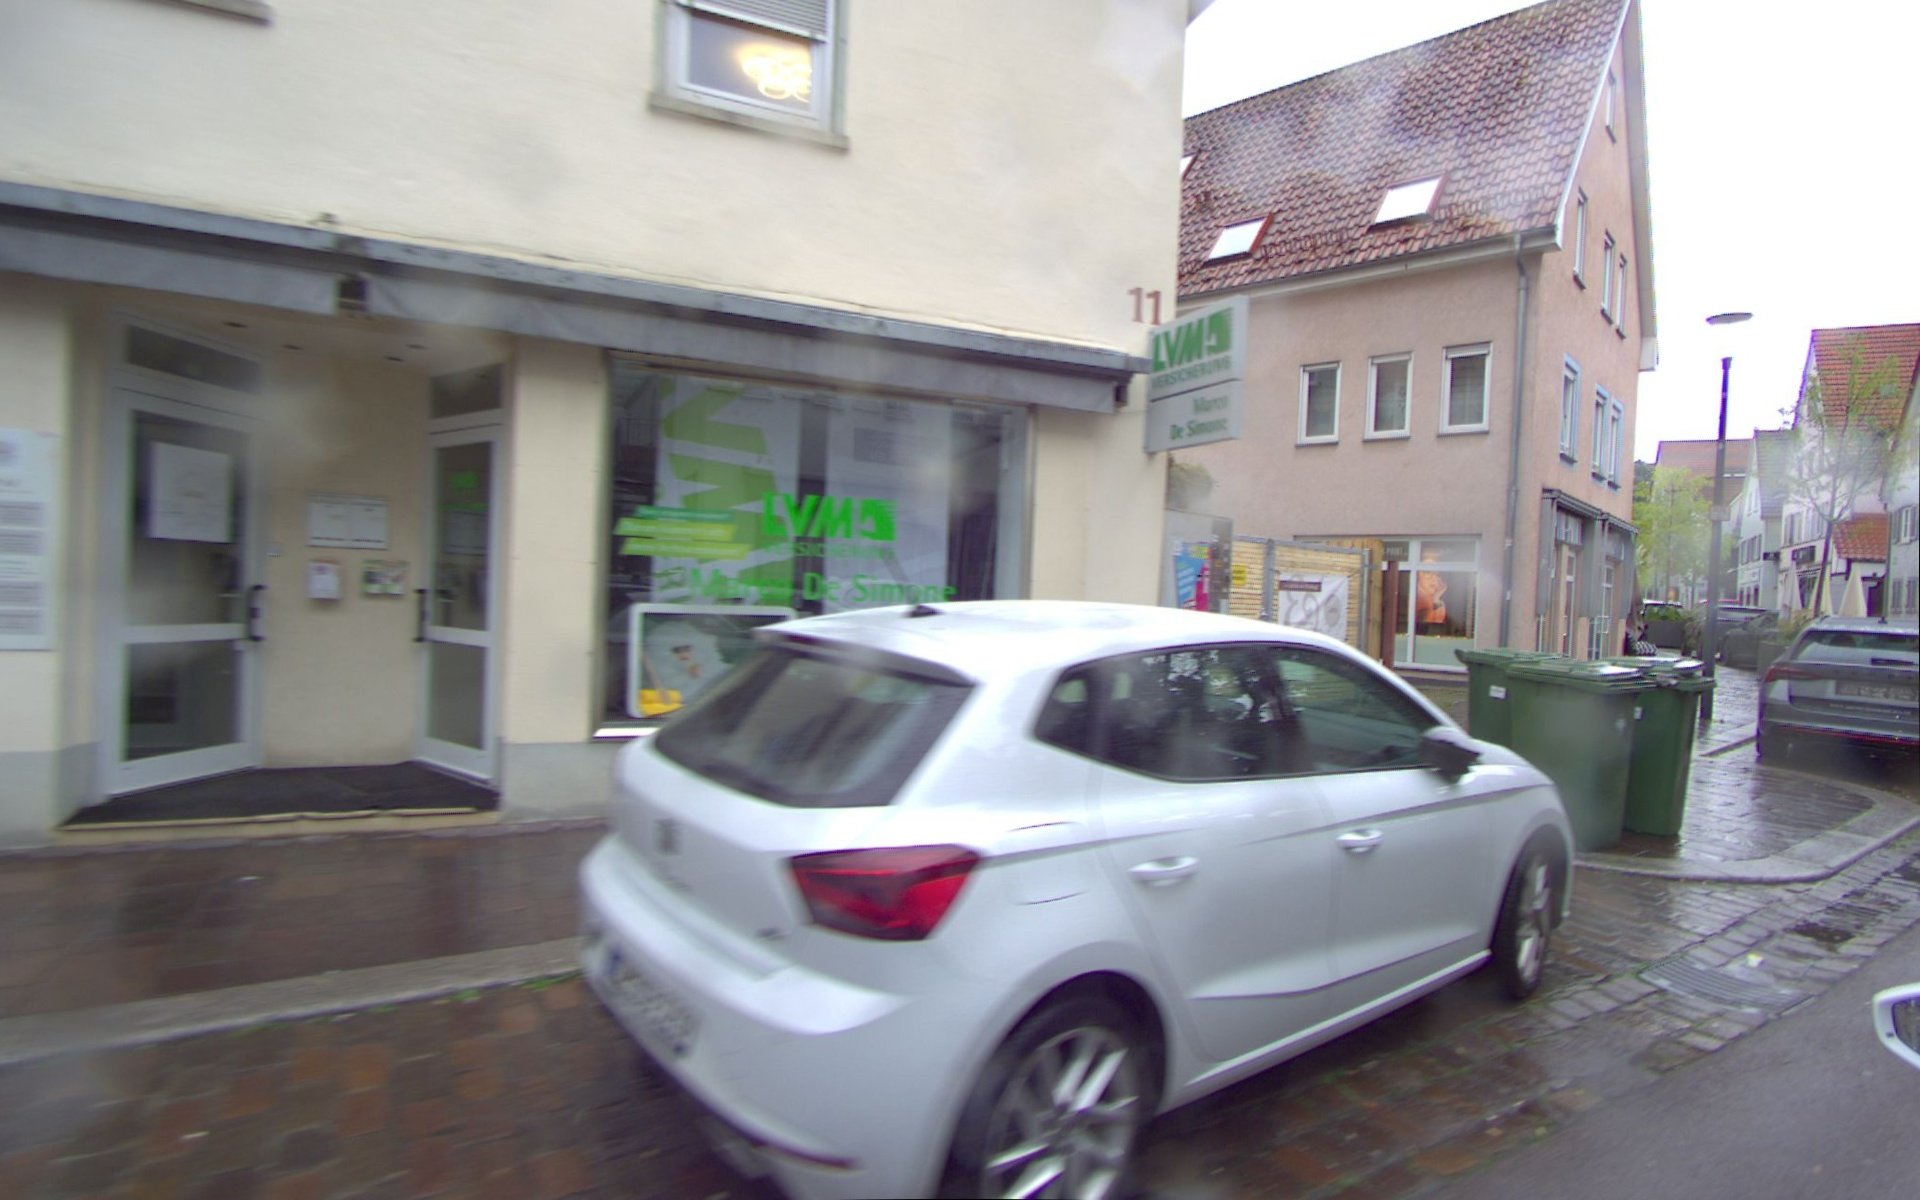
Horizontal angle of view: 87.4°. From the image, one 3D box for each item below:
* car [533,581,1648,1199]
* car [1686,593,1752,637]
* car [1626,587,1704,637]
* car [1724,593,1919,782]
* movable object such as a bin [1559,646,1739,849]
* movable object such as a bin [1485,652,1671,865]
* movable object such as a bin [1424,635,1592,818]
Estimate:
[{"bbox_3d":[0.779,0.709,3.738,4.037,1.471,1.834,0,2,-39],"label":"car"},{"bbox_3d":[35.589,0.645,47.221,1.866,1.836,3.992,5,3,30],"label":"car"},{"bbox_3d":[27.045,0.494,38.651,1.796,1.688,4.636,4,0,28],"label":"car"},{"bbox_3d":[9.483,0.796,10.386,4.371,1.561,1.856,1,2,-44],"label":"car"},{"bbox_3d":[4.431,0.904,6.477,0.711,1.159,0.696,0,2,-31],"label":"movable object such as a bin"},{"bbox_3d":[3.757,0.916,6.128,0.711,1.151,0.678,1,1,-31],"label":"movable object such as a bin"},{"bbox_3d":[3.865,0.864,7.101,0.711,1.137,0.696,3,3,-31],"label":"movable object such as a bin"}]
